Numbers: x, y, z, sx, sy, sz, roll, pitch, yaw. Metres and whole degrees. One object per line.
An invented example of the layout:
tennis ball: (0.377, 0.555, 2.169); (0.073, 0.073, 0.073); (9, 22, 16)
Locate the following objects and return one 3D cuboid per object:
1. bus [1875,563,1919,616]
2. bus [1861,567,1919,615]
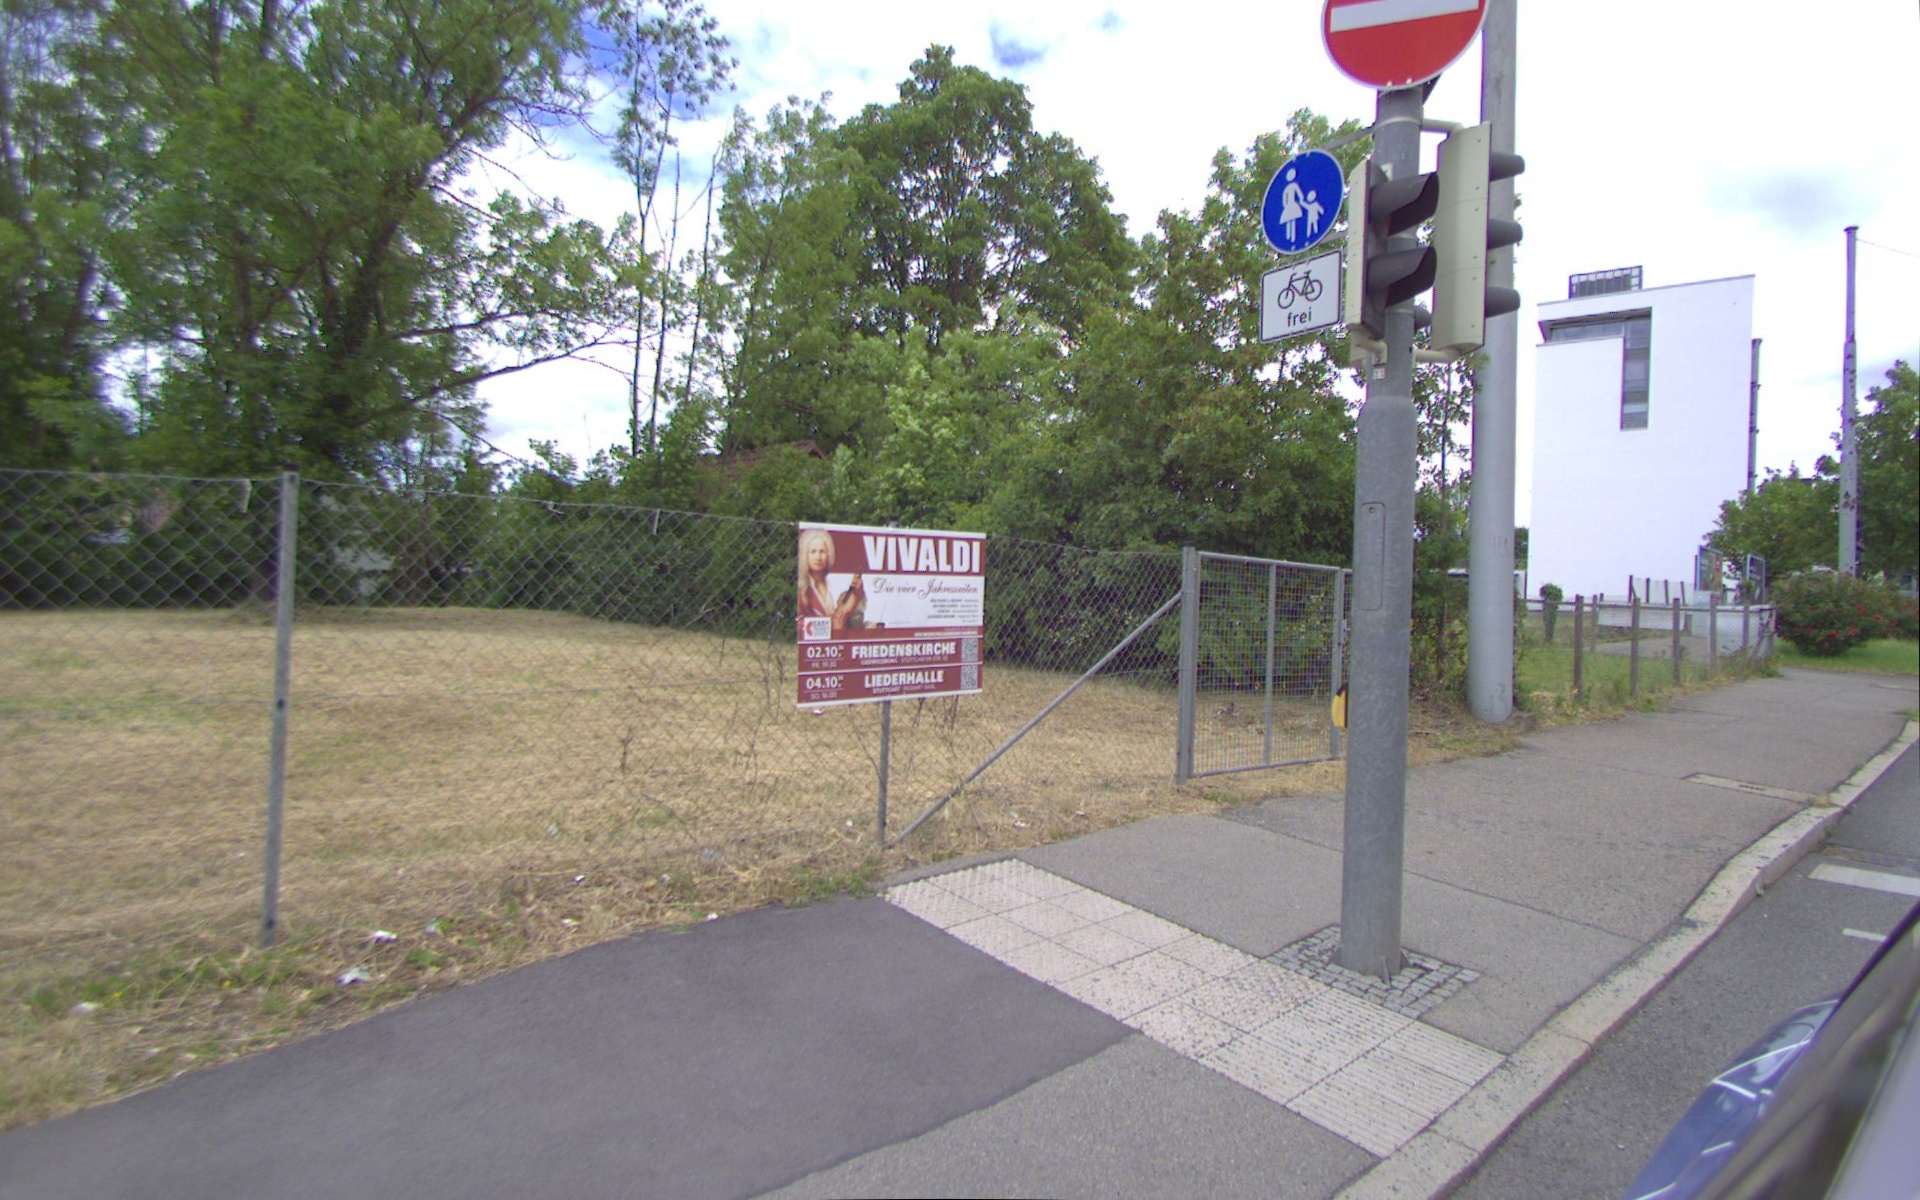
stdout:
bus: (64.901, -0.625, 68.932); (2.708, 3.201, 9.005); (7, 3, 37)
bus: (70.256, -0.632, 76.080); (2.709, 3.144, 8.749); (9, 5, 37)
